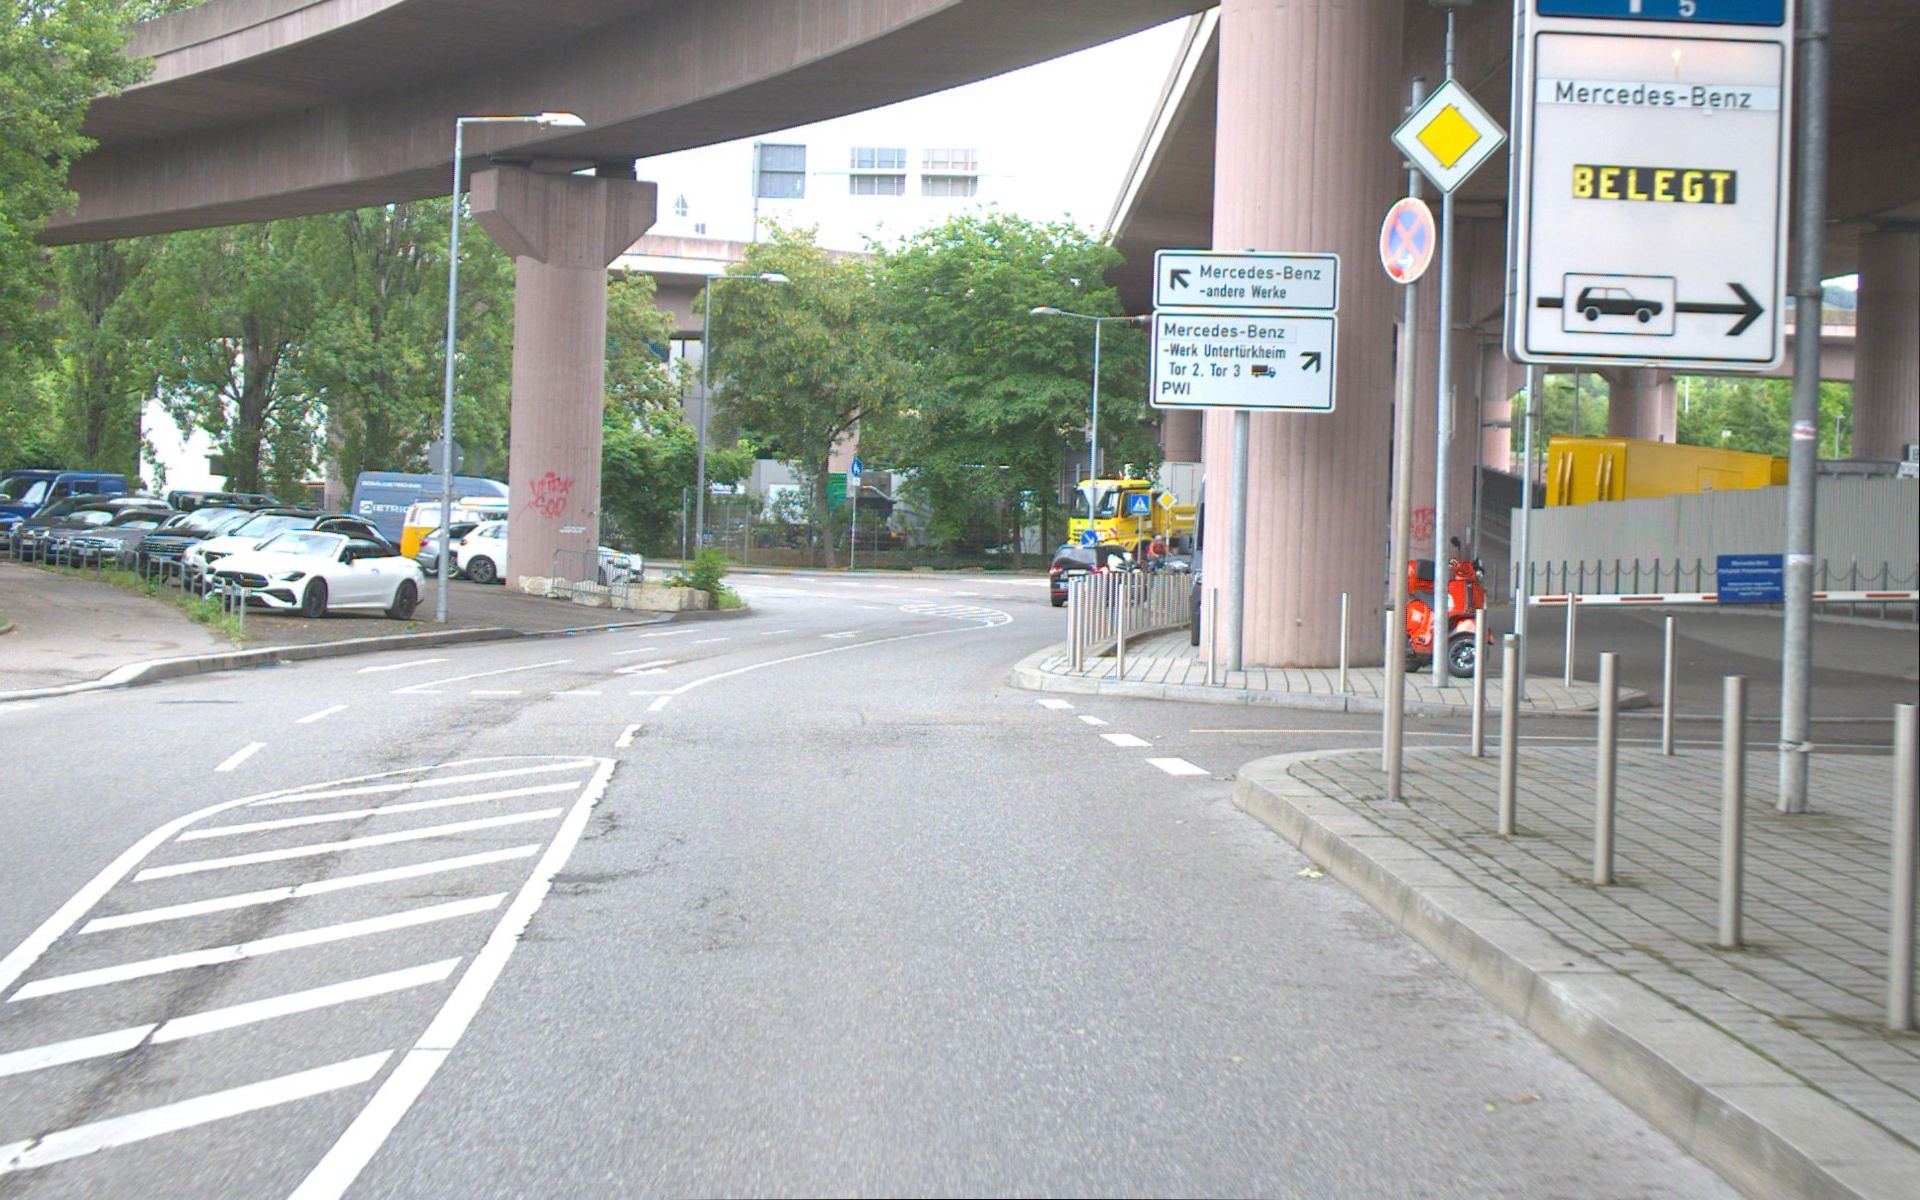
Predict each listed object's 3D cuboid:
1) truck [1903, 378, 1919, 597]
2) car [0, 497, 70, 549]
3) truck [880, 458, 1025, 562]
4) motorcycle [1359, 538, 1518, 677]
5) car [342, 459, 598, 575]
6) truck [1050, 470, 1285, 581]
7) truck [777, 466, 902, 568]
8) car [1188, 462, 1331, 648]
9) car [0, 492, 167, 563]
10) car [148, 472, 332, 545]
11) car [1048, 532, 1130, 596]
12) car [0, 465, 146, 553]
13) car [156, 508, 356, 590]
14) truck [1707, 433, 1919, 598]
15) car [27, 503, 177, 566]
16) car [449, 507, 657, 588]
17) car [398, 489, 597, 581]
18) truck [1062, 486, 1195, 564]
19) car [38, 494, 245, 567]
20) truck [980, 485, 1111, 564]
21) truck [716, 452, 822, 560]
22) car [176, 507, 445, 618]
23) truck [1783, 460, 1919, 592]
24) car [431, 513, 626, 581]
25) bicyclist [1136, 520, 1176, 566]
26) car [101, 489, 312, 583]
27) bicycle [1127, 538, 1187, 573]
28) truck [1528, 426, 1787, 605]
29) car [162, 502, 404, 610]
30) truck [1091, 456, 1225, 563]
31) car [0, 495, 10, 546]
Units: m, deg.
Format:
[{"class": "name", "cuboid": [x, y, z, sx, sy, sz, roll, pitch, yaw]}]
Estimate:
[{"class": "truck", "cuboid": [23.473, -2.312, 72.181, 3.145, 4.428, 9.702, 1, 1, 41]}, {"class": "car", "cuboid": [-27.006, -2.144, 95.438, 1.996, 1.430, 4.640, 1, 1, 24]}, {"class": "truck", "cuboid": [-0.363, -3.605, 135.261, 3.065, 3.854, 8.051, 0, 3, -21]}, {"class": "motorcycle", "cuboid": [4.919, 0.058, 35.472, 0.795, 1.362, 2.130, 0, 2, -17]}, {"class": "car", "cuboid": [-12.741, -2.160, 89.579, 6.175, 2.715, 2.368, 3, 1, 3]}, {"class": "truck", "cuboid": [7.149, -2.622, 117.833, 8.222, 3.469, 2.936, -2, 6, -41]}, {"class": "truck", "cuboid": [-4.955, -3.328, 139.864, 3.064, 3.950, 6.925, 1, 0, -19]}, {"class": "car", "cuboid": [4.473, -0.705, 51.474, 1.994, 2.604, 6.073, 1, 1, 5]}, {"class": "car", "cuboid": [-21.216, -1.754, 82.846, 1.898, 1.670, 4.148, 1, 1, 26]}, {"class": "car", "cuboid": [-22.122, -2.809, 105.764, 5.090, 2.065, 2.259, 1, 0, 4]}, {"class": "car", "cuboid": [3.532, -0.999, 94.696, 1.993, 1.673, 4.561, 2, 1, -1]}, {"class": "car", "cuboid": [-23.804, -2.374, 90.623, 2.120, 2.247, 5.012, 1, 1, 21]}, {"class": "car", "cuboid": [-13.079, -0.931, 64.088, 1.789, 1.449, 3.742, 2, 1, 24]}, {"class": "truck", "cuboid": [26.813, -2.557, 106.376, 3.146, 4.886, 8.695, 2, 1, 43]}, {"class": "car", "cuboid": [-19.830, -1.518, 79.577, 1.645, 1.436, 3.732, 1, 1, 18]}, {"class": "car", "cuboid": [-9.565, -1.238, 80.927, 4.383, 1.600, 1.953, 4, 2, 13]}, {"class": "car", "cuboid": [-11.651, -1.640, 86.661, 4.557, 2.104, 1.850, 3, 1, 9]}, {"class": "truck", "cuboid": [6.695, -3.043, 137.903, 2.914, 2.889, 6.561, 0, 3, -21]}, {"class": "car", "cuboid": [-18.213, -1.551, 76.746, 1.859, 1.482, 4.882, 4, 3, 24]}, {"class": "truck", "cuboid": [3.364, -3.028, 136.667, 2.914, 2.889, 6.561, 0, 3, -21]}, {"class": "truck", "cuboid": [-8.903, -4.411, 159.597, 3.202, 4.763, 8.052, 0, 3, -16]}, {"class": "car", "cuboid": [-10.571, -0.586, 56.339, 1.996, 1.474, 4.823, 6, 0, 21]}, {"class": "truck", "cuboid": [23.510, -1.835, 82.763, 3.145, 2.934, 8.696, -2, 1, 44]}, {"class": "car", "cuboid": [-10.522, -1.299, 84.034, 4.246, 1.366, 1.999, 4, 2, 11]}, {"class": "bicyclist", "cuboid": [6.079, -1.767, 106.677, 0.796, 1.400, 1.066, -1, 1, -30]}, {"class": "car", "cuboid": [-14.589, -1.221, 66.754, 1.859, 1.685, 4.159, 2, 1, 24]}, {"class": "bicycle", "cuboid": [6.098, -1.386, 106.648, 0.802, 1.094, 2.131, -1, 1, -30]}, {"class": "truck", "cuboid": [20.221, -2.382, 99.248, 3.146, 4.900, 8.695, 2, 1, 43]}, {"class": "car", "cuboid": [-11.826, -0.750, 60.377, 1.996, 1.577, 4.395, 6, 1, 21]}, {"class": "truck", "cuboid": [8.309, -3.890, 145.183, 3.064, 4.284, 8.052, 0, 3, -16]}, {"class": "car", "cuboid": [-29.184, -2.300, 98.373, 1.790, 1.469, 3.883, 1, 1, 23]}]
